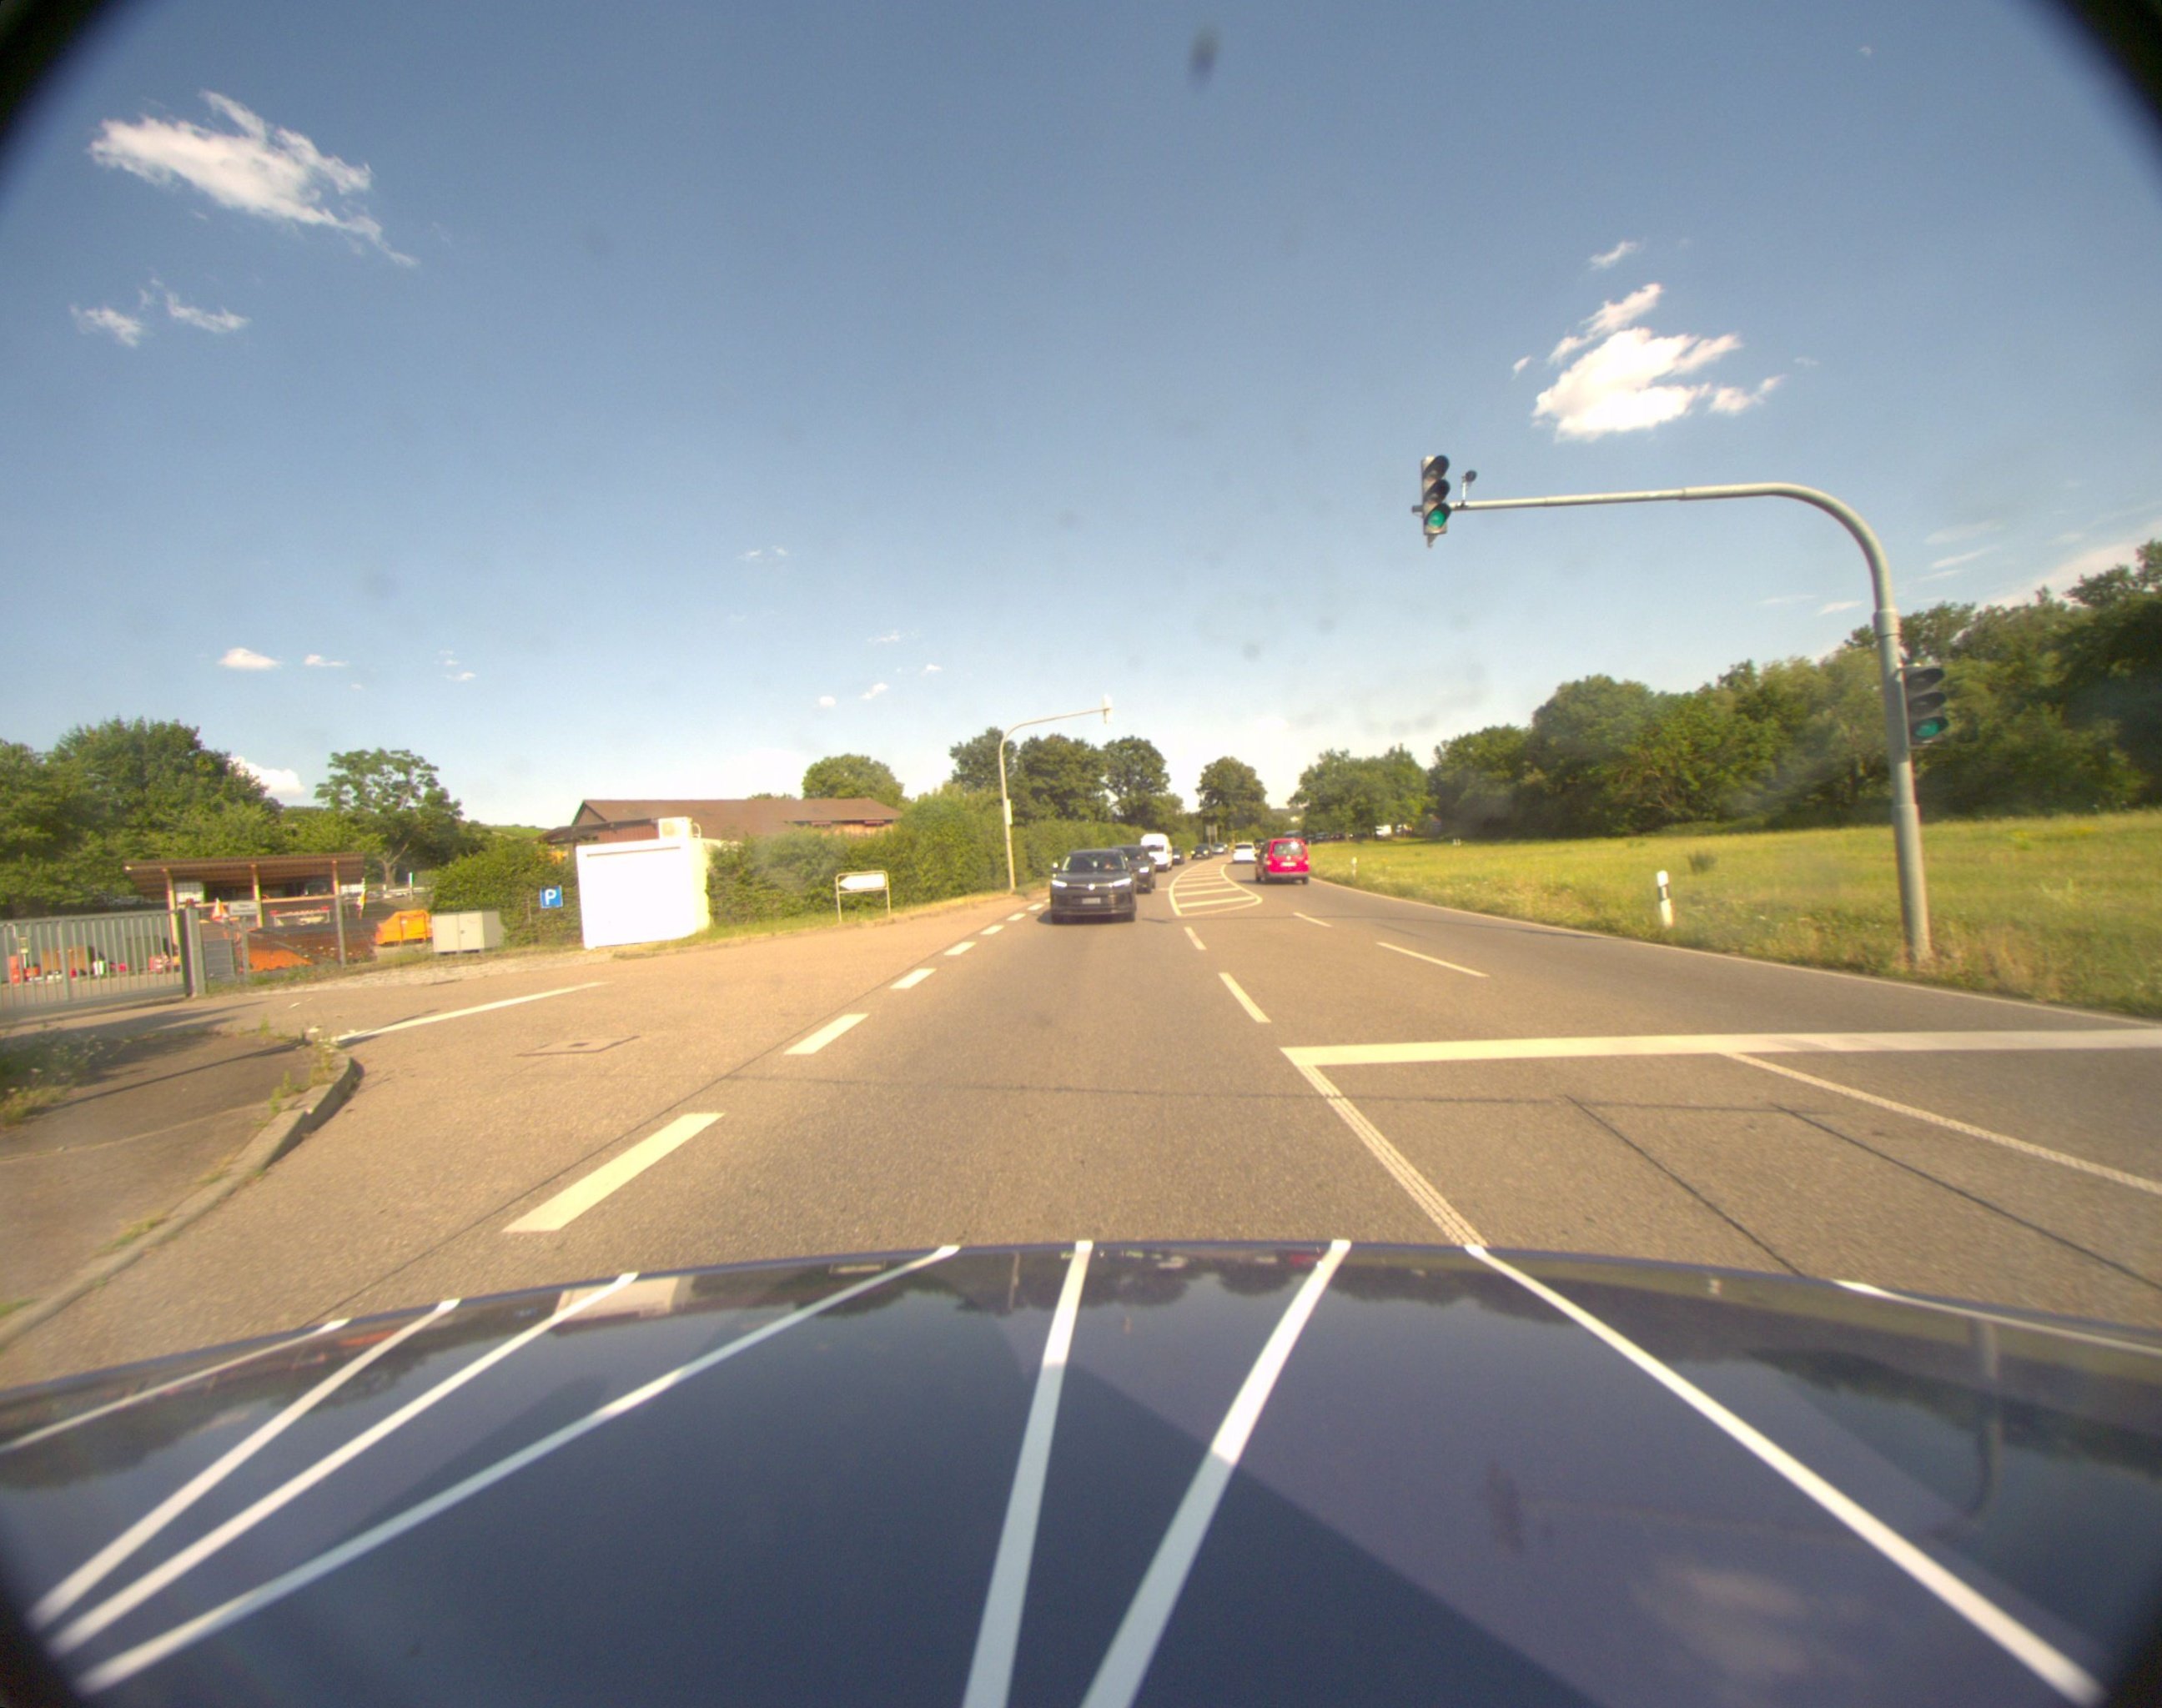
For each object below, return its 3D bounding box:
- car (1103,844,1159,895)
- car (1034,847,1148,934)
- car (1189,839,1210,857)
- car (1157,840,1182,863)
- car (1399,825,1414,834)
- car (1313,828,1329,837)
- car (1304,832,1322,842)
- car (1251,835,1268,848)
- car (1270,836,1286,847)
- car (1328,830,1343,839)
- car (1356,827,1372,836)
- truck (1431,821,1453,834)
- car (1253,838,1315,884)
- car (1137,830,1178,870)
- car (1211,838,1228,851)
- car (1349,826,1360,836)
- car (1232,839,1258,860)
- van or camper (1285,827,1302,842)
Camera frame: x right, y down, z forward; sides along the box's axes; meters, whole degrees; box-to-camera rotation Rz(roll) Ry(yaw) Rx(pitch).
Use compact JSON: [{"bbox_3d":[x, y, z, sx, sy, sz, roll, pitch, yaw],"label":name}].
[{"bbox_3d":[1.888,0.516,27.623,1.658,1.720,3.807,-1,0,9],"label":"car"},{"bbox_3d":[0.367,0.713,16.884,1.864,1.633,4.003,-1,1,10],"label":"car"},{"bbox_3d":[11.745,-0.609,75.036,1.672,1.718,3.671,-1,1,15],"label":"car"},{"bbox_3d":[7.024,-0.222,60.104,1.692,1.718,3.671,-1,1,11],"label":"car"},{"bbox_3d":[77.391,-5.825,180.660,1.995,1.846,4.007,-4,1,42],"label":"car"},{"bbox_3d":[48.013,-4.236,151.985,1.995,1.543,4.007,-4,0,34],"label":"car"},{"bbox_3d":[40.047,-2.961,131.048,1.928,1.577,4.081,0,1,34],"label":"car"},{"bbox_3d":[27.310,-1.906,116.315,1.638,1.888,3.511,-4,0,25],"label":"car"},{"bbox_3d":[26.476,-1.717,101.964,1.748,1.458,3.483,-1,1,20],"label":"car"},{"bbox_3d":[54.249,-4.139,162.069,1.995,1.543,4.006,-4,0,32],"label":"car"},{"bbox_3d":[59.770,-4.783,160.546,1.995,1.543,4.007,-4,1,37],"label":"car"},{"bbox_3d":[94.677,-6.995,199.223,2.918,3.194,6.694,-4,0,43],"label":"truck"},{"bbox_3d":[8.413,0.261,31.865,1.884,1.765,4.324,-1,0,7],"label":"car"},{"bbox_3d":[4.863,-0.276,47.826,1.842,2.338,4.793,-1,1,14],"label":"car"},{"bbox_3d":[16.970,-1.208,93.153,1.632,1.550,3.420,0,2,18],"label":"car"},{"bbox_3d":[61.995,-5.188,172.274,1.405,2.002,3.240,-4,1,36],"label":"car"},{"bbox_3d":[12.815,-0.337,59.247,1.883,1.577,4.334,-1,0,13],"label":"car"},{"bbox_3d":[38.489,-3.616,137.625,2.030,2.461,5.085,-4,0,26],"label":"van or camper"}]
